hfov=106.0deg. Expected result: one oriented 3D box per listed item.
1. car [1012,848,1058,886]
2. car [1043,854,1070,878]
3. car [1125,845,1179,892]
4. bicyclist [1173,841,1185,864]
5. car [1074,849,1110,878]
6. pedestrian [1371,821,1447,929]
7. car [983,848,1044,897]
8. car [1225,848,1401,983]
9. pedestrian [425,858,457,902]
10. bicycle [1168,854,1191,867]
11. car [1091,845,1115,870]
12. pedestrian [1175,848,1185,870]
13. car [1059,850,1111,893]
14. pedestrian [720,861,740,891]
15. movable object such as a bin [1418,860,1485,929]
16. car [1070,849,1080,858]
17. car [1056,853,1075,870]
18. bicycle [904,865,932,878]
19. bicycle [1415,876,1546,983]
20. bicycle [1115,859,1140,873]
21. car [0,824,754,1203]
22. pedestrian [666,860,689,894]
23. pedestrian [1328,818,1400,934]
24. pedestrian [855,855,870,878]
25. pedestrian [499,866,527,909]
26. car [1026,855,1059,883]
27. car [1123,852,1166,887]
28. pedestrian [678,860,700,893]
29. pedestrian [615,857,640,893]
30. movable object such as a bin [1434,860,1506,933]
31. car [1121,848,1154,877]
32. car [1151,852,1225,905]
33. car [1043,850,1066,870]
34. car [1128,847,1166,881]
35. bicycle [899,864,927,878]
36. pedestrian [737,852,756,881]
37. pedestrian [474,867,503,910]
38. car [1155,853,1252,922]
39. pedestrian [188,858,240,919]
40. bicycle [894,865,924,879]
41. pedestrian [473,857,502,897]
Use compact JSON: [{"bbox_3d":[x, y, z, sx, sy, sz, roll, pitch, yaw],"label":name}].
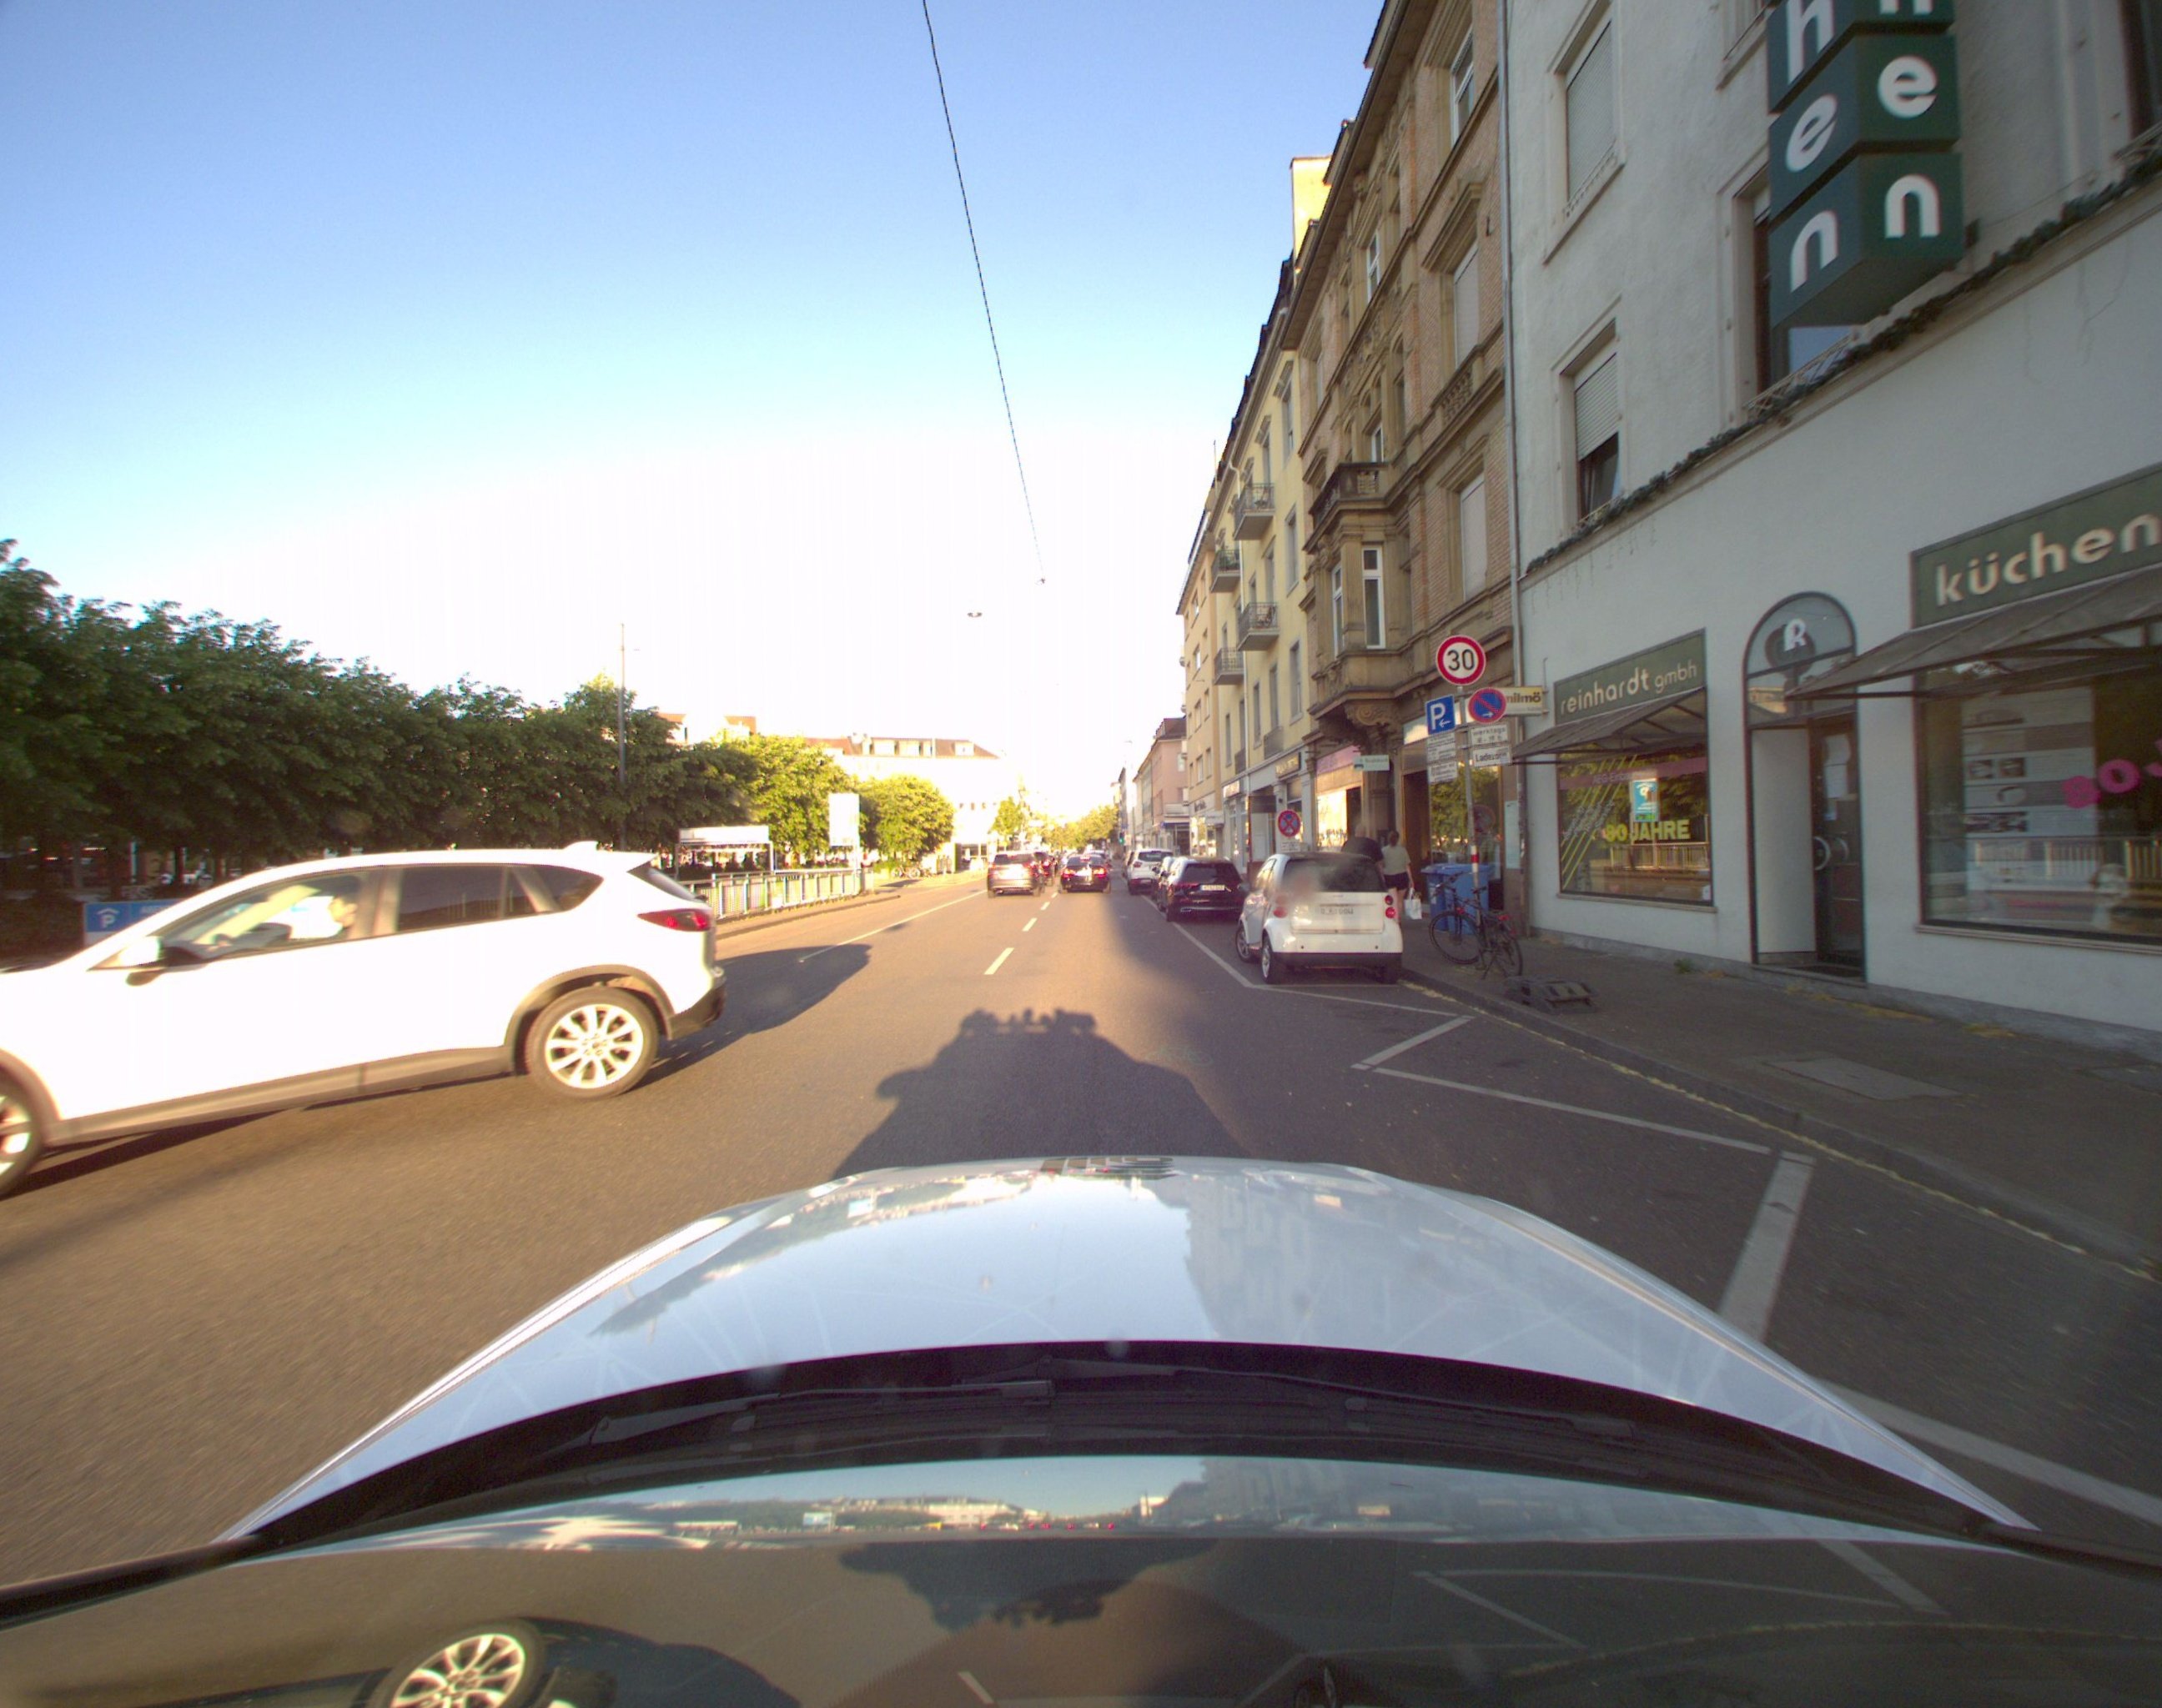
[{"bbox_3d":[-2.125,0.584,38.605,1.891,1.649,4.103,-1,0,0],"label":"car"},{"bbox_3d":[-1.690,0.842,58.007,1.774,1.547,3.999,-1,0,0],"label":"car"},{"bbox_3d":[2.588,0.523,30.630,1.724,1.650,4.285,0,0,1],"label":"car"},{"bbox_3d":[7.758,-0.145,64.438,0.823,1.777,0.612,-1,0,27],"label":"bicyclist"},{"bbox_3d":[0.592,0.507,45.834,1.890,1.581,3.999,0,0,0],"label":"car"},{"bbox_3d":[5.480,0.336,13.655,0.770,1.711,1.042,-3,0,0],"label":"pedestrian"},{"bbox_3d":[-2.430,0.640,30.220,1.891,1.649,4.104,-1,0,0],"label":"car"},{"bbox_3d":[2.943,0.716,10.964,1.526,1.536,3.284,0,0,2],"label":"car"},{"bbox_3d":[-23.417,0.948,29.799,0.783,1.595,0.571,-1,0,19],"label":"pedestrian"},{"bbox_3d":[7.785,0.502,64.464,1.749,0.967,0.493,-1,0,27],"label":"bicycle"},{"bbox_3d":[1.850,0.285,69.970,1.986,2.013,4.001,1,0,1],"label":"car"},{"bbox_3d":[8.078,0.385,66.296,0.698,1.812,0.634,-1,0,-3],"label":"pedestrian"},{"bbox_3d":[0.155,0.624,31.685,1.890,1.581,3.999,0,0,0],"label":"car"},{"bbox_3d":[-18.690,1.181,43.388,0.783,1.595,0.571,-1,0,19],"label":"pedestrian"},{"bbox_3d":[6.100,0.653,13.427,0.772,1.070,0.618,-4,0,0],"label":"movable object such as a bin"},{"bbox_3d":[-1.166,-0.144,153.166,1.774,1.547,3.999,-1,0,0],"label":"car"},{"bbox_3d":[-1.462,0.709,78.838,1.774,1.547,3.999,-1,0,0],"label":"car"},{"bbox_3d":[-11.011,1.177,55.082,1.821,0.853,0.483,1,0,-4],"label":"bicycle"},{"bbox_3d":[4.479,0.798,9.286,0.502,1.016,1.947,-2,0,0],"label":"bicycle"},{"bbox_3d":[3.320,0.855,58.053,1.757,0.967,0.491,-1,0,5],"label":"bicycle"},{"bbox_3d":[-4.712,0.750,5.296,4.482,1.761,1.980,-2,0,-33],"label":"car"},{"bbox_3d":[-19.628,1.117,39.599,0.672,1.595,0.680,-1,0,20],"label":"pedestrian"},{"bbox_3d":[4.697,0.347,13.582,0.770,1.827,1.010,-3,0,0],"label":"pedestrian"},{"bbox_3d":[-15.212,0.893,56.715,0.783,1.595,0.571,-1,0,19],"label":"pedestrian"},{"bbox_3d":[-21.798,1.285,31.233,0.672,1.595,0.571,-1,0,19],"label":"pedestrian"},{"bbox_3d":[-2.309,0.883,49.625,1.774,1.547,3.999,-1,0,0],"label":"car"},{"bbox_3d":[2.793,0.660,36.392,1.723,1.450,4.314,0,0,2],"label":"car"},{"bbox_3d":[-19.390,1.100,40.251,0.672,1.595,0.680,-1,0,20],"label":"pedestrian"},{"bbox_3d":[-20.314,0.942,36.490,0.672,1.595,0.680,-1,0,20],"label":"pedestrian"},{"bbox_3d":[6.089,0.653,12.777,0.772,1.070,0.618,-4,0,0],"label":"movable object such as a bin"},{"bbox_3d":[3.316,0.483,48.120,1.723,1.652,3.971,0,0,1],"label":"car"},{"bbox_3d":[3.142,0.680,24.645,1.724,1.448,4.474,0,0,1],"label":"car"},{"bbox_3d":[-2.166,0.482,67.554,1.774,1.547,3.999,-1,0,0],"label":"car"},{"bbox_3d":[3.340,0.511,41.899,1.723,1.652,3.829,0,0,1],"label":"car"},{"bbox_3d":[-11.544,1.163,55.992,1.821,0.853,0.483,1,0,-4],"label":"bicycle"},{"bbox_3d":[-18.524,0.712,45.085,0.783,1.595,0.571,-1,0,19],"label":"pedestrian"},{"bbox_3d":[-22.167,1.283,30.483,0.672,1.595,0.571,-1,0,19],"label":"pedestrian"},{"bbox_3d":[2.802,0.716,19.545,1.724,1.448,4.525,0,0,1],"label":"car"},{"bbox_3d":[-23.412,0.918,21.997,0.703,1.595,0.673,-1,0,-18],"label":"pedestrian"},{"bbox_3d":[-11.249,1.183,53.278,1.821,0.853,0.483,1,0,-4],"label":"bicycle"},{"bbox_3d":[-23.842,0.924,32.716,0.783,1.595,0.571,-1,0,19],"label":"pedestrian"}]
